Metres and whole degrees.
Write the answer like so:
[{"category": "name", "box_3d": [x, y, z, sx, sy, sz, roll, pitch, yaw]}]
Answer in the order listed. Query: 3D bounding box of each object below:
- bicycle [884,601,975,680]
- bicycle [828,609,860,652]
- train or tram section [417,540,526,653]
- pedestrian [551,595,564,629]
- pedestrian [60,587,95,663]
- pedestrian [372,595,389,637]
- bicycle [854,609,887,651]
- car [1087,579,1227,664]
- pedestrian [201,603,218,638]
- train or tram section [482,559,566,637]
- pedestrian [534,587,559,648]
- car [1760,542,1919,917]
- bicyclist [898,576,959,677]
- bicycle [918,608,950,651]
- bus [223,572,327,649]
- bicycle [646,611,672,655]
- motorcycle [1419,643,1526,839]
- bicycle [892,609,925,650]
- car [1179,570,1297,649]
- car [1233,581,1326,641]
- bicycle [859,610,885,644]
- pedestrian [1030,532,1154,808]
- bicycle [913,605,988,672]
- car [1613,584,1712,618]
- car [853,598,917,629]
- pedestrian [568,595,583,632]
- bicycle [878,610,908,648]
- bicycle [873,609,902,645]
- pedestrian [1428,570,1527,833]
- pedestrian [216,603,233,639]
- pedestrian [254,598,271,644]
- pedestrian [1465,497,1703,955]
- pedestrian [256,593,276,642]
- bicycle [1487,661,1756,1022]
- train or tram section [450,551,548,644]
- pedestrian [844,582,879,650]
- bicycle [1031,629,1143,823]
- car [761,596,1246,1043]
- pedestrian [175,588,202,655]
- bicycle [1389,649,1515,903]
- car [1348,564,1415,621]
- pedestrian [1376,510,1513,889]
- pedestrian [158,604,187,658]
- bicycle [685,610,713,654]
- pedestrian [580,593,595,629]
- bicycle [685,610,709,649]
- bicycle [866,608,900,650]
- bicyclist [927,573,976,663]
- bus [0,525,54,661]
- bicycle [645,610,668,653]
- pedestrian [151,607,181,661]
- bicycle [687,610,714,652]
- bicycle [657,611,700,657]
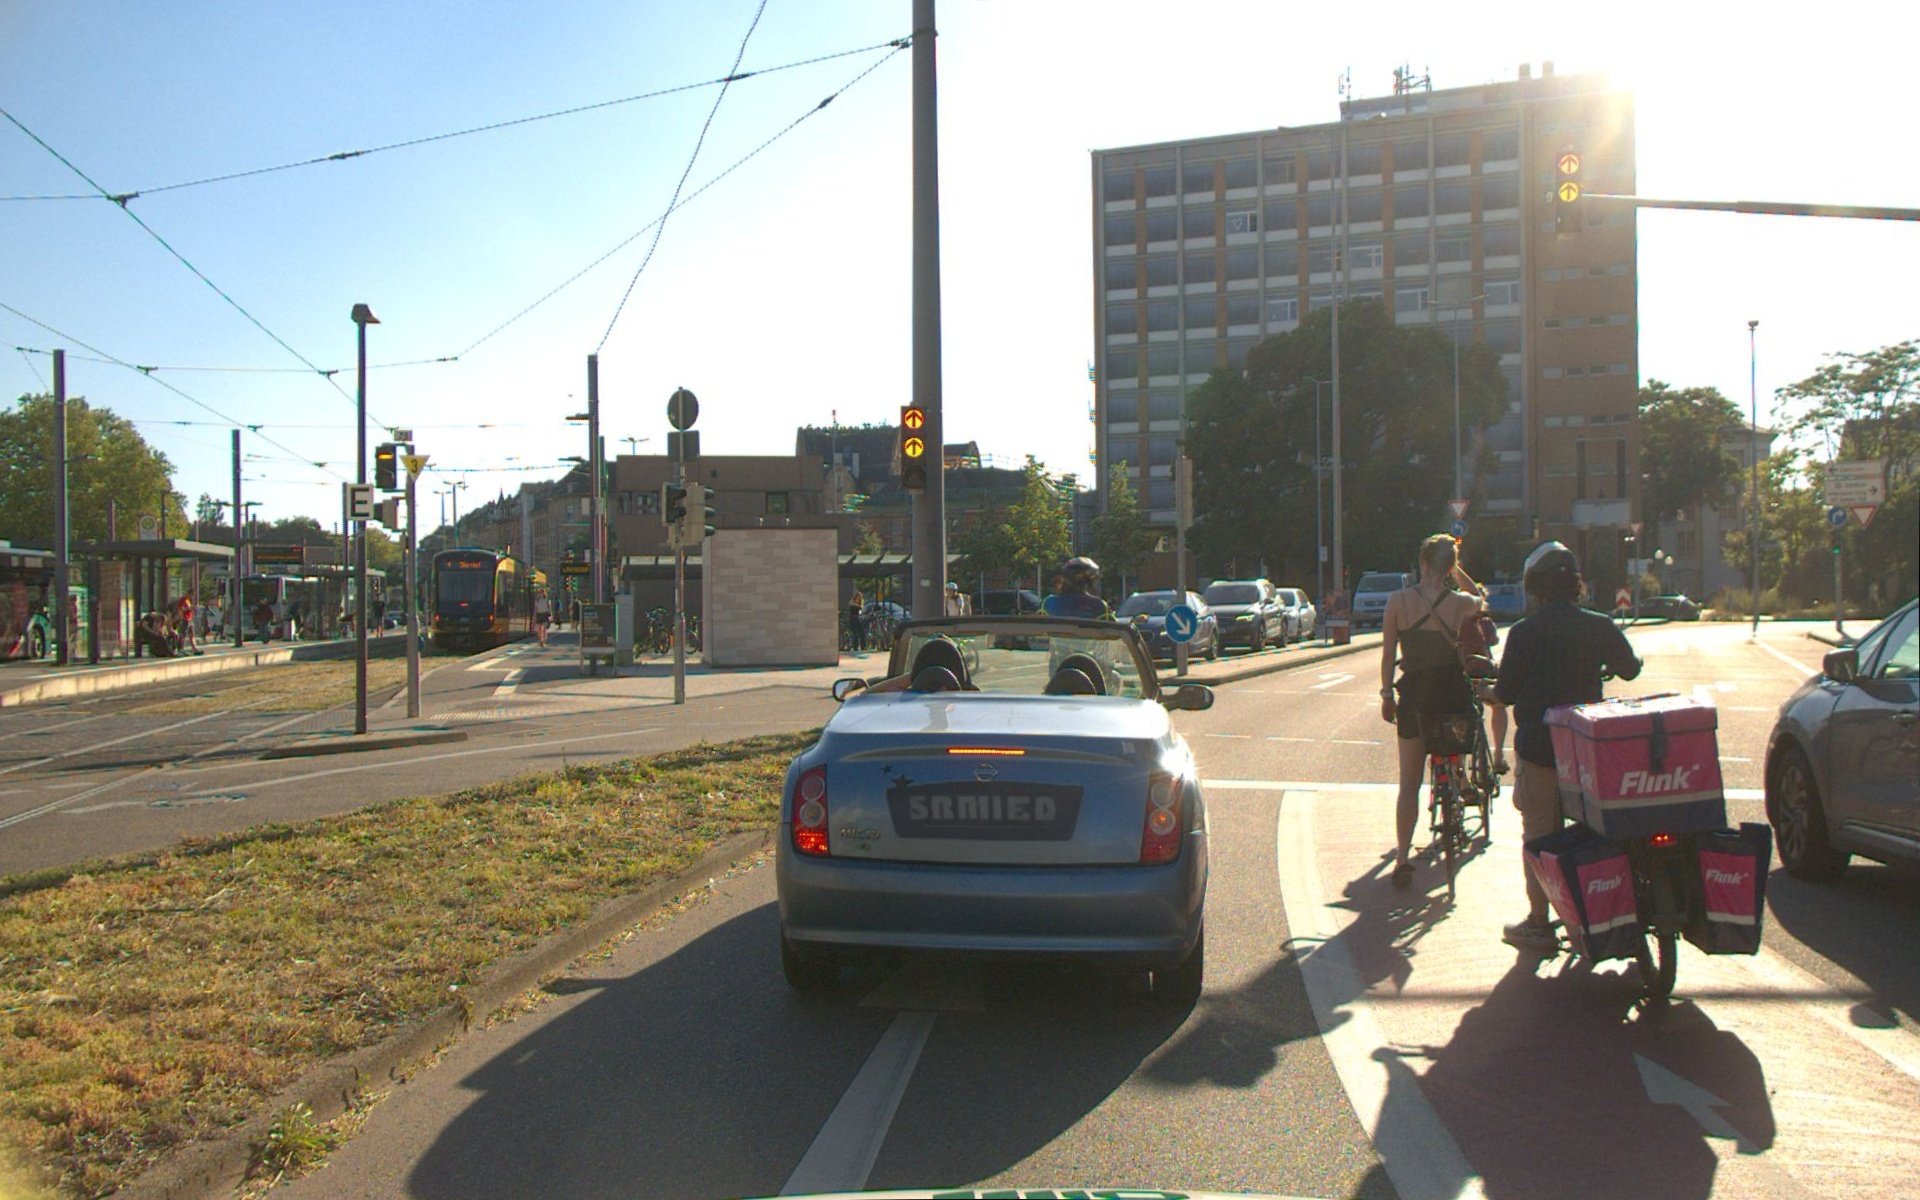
[{"category": "bicycle", "box_3d": [-0.504, 0.675, 28.824, 0.660, 1.272, 2.457, -3, -1, 21]}, {"category": "bicycle", "box_3d": [-3.162, 0.823, 45.052, 0.596, 1.134, 1.890, 1, 0, -13]}, {"category": "train or tram section", "box_3d": [-17.646, -0.107, 60.403, 2.831, 3.659, 12.161, 1, 0, -12]}, {"category": "pedestrian", "box_3d": [-21.790, 0.647, 89.574, 0.593, 1.779, 0.830, -1, 0, -8]}, {"category": "pedestrian", "box_3d": [-20.972, 0.589, 39.314, 0.527, 1.779, 0.559, -1, 0, -6]}, {"category": "pedestrian", "box_3d": [-25.059, 0.689, 71.524, 0.630, 1.779, 0.567, -1, 0, -27]}, {"category": "bicycle", "box_3d": [-2.559, 0.842, 47.134, 0.596, 1.134, 1.890, 1, 0, -13]}, {"category": "car", "box_3d": [4.072, 0.424, 33.679, 1.702, 1.601, 3.921, 1, 0, 25]}, {"category": "pedestrian", "box_3d": [-38.269, 1.057, 84.385, 0.626, 1.779, 0.571, -1, 0, -8]}, {"category": "train or tram section", "box_3d": [-22.046, -0.070, 84.252, 2.984, 3.659, 12.024, 1, 0, -10]}, {"category": "pedestrian", "box_3d": [-12.257, 0.511, 49.013, 0.628, 1.779, 0.569, -1, 0, -19]}, {"category": "car", "box_3d": [5.286, 0.606, 7.394, 1.792, 1.719, 4.372, 1, 0, 8]}, {"category": "bicyclist", "box_3d": [-0.543, 0.455, 28.756, 0.694, 1.686, 0.901, -3, -1, 21]}, {"category": "bicycle", "box_3d": [-0.731, 0.807, 45.533, 0.595, 1.134, 1.892, 1, 0, -10]}, {"category": "bus", "box_3d": [-32.735, 0.465, 79.549, 2.675, 3.331, 13.413, 1, 0, -14]}, {"category": "bicycle", "box_3d": [-7.992, 0.859, 43.925, 0.596, 1.134, 1.890, 1, 0, -13]}, {"category": "motorcycle", "box_3d": [3.420, 0.873, 11.108, 0.600, 1.117, 2.361, 1, 0, 16]}, {"category": "bicycle", "box_3d": [-1.496, 0.829, 47.538, 0.596, 1.134, 1.890, 1, 0, -13]}, {"category": "car", "box_3d": [6.735, 0.204, 39.714, 1.726, 1.736, 4.529, -2, -1, 23]}, {"category": "car", "box_3d": [9.012, 0.280, 46.453, 1.661, 1.588, 3.977, -1, 0, 25]}, {"category": "bicycle", "box_3d": [-3.020, 0.910, 56.679, 0.596, 1.134, 1.890, 1, 0, -13]}, {"category": "pedestrian", "box_3d": [0.969, 0.485, 11.962, 0.815, 1.901, 0.921, 1, -1, 8]}, {"category": "bicycle", "box_3d": [-0.155, 0.710, 31.442, 0.660, 1.201, 2.183, -1, 0, 21]}, {"category": "car", "box_3d": [35.316, 0.057, 83.154, 4.301, 1.557, 1.800, -2, -1, 33]}, {"category": "car", "box_3d": [-4.023, 0.740, 88.536, 1.629, 1.588, 3.549, -1, 0, -39]}, {"category": "pedestrian", "box_3d": [-19.154, 0.670, 82.339, 0.628, 1.779, 0.732, -1, 0, -19]}, {"category": "bicycle", "box_3d": [-2.088, 0.885, 51.216, 0.596, 1.134, 1.890, 1, 0, -13]}, {"category": "bicycle", "box_3d": [-2.338, 0.866, 53.184, 0.596, 1.134, 1.890, 1, 0, -13]}, {"category": "pedestrian", "box_3d": [3.382, 0.630, 10.846, 0.575, 1.626, 1.025, 1, -1, 16]}, {"category": "pedestrian", "box_3d": [-37.385, 1.073, 84.079, 0.627, 1.779, 0.570, -1, 0, -13]}, {"category": "pedestrian", "box_3d": [-27.819, 0.834, 65.962, 0.562, 1.779, 0.636, -1, 0, -20]}, {"category": "pedestrian", "box_3d": [2.763, 0.522, 7.421, 0.789, 1.901, 0.957, 1, -1, 8]}, {"category": "pedestrian", "box_3d": [-25.504, 0.635, 60.763, 0.630, 1.779, 0.567, -1, 0, -27]}, {"category": "bicycle", "box_3d": [2.728, 0.900, 7.069, 0.542, 1.192, 2.374, 1, 0, 9]}, {"category": "train or tram section", "box_3d": [-19.980, -0.084, 72.357, 2.957, 3.659, 12.169, 1, 0, -10]}, {"category": "pedestrian", "box_3d": [-2.786, 0.440, 46.786, 0.885, 1.901, 0.685, 1, -1, -13]}, {"category": "bicycle", "box_3d": [0.953, 0.830, 11.893, 0.595, 1.212, 2.416, 1, 0, 9]}, {"category": "car", "box_3d": [0.355, 0.746, 7.676, 1.625, 1.466, 4.157, 1, 0, 6]}, {"category": "pedestrian", "box_3d": [-20.707, 0.581, 44.401, 0.561, 1.779, 0.637, -1, 0, -17]}, {"category": "bicycle", "box_3d": [2.638, 0.880, 8.993, 0.552, 1.171, 1.951, 1, 0, 14]}, {"category": "car", "box_3d": [15.856, -0.289, 62.093, 1.869, 1.979, 4.707, -3, -1, 21]}, {"category": "pedestrian", "box_3d": [2.560, 0.499, 8.806, 0.645, 1.901, 0.873, 1, -1, 14]}, {"category": "pedestrian", "box_3d": [-20.252, 0.802, 42.543, 0.561, 1.369, 0.637, -1, 0, -17]}, {"category": "bicycle", "box_3d": [-6.989, 0.844, 44.271, 0.596, 1.134, 1.890, 1, 0, -13]}, {"category": "pedestrian", "box_3d": [-18.644, 0.572, 82.743, 0.628, 1.779, 0.732, -1, 0, -19]}, {"category": "bicycle", "box_3d": [-7.979, 0.892, 50.193, 0.596, 1.134, 1.890, 1, 0, -13]}, {"category": "bicycle", "box_3d": [-2.110, 0.782, 45.210, 0.596, 1.134, 1.890, 1, 0, -13]}, {"category": "bicyclist", "box_3d": [-0.155, 0.347, 31.470, 0.694, 1.686, 0.743, -1, 0, 21]}, {"category": "bus", "box_3d": [-23.561, -0.179, 37.165, 2.606, 3.190, 9.619, 1, 0, -10]}, {"category": "bicycle", "box_3d": [-8.424, 0.860, 45.843, 0.596, 1.134, 1.891, 1, 0, -11]}, {"category": "pedestrian", "box_3d": [-20.094, 0.855, 41.863, 0.606, 1.364, 0.438, -1, 0, -18]}, {"category": "bicycle", "box_3d": [-7.279, 0.861, 46.330, 0.596, 1.134, 1.890, 1, 0, -13]}, {"category": "bicycle", "box_3d": [-7.184, 0.856, 42.333, 0.594, 1.134, 1.898, 1, 0, 5]}]
